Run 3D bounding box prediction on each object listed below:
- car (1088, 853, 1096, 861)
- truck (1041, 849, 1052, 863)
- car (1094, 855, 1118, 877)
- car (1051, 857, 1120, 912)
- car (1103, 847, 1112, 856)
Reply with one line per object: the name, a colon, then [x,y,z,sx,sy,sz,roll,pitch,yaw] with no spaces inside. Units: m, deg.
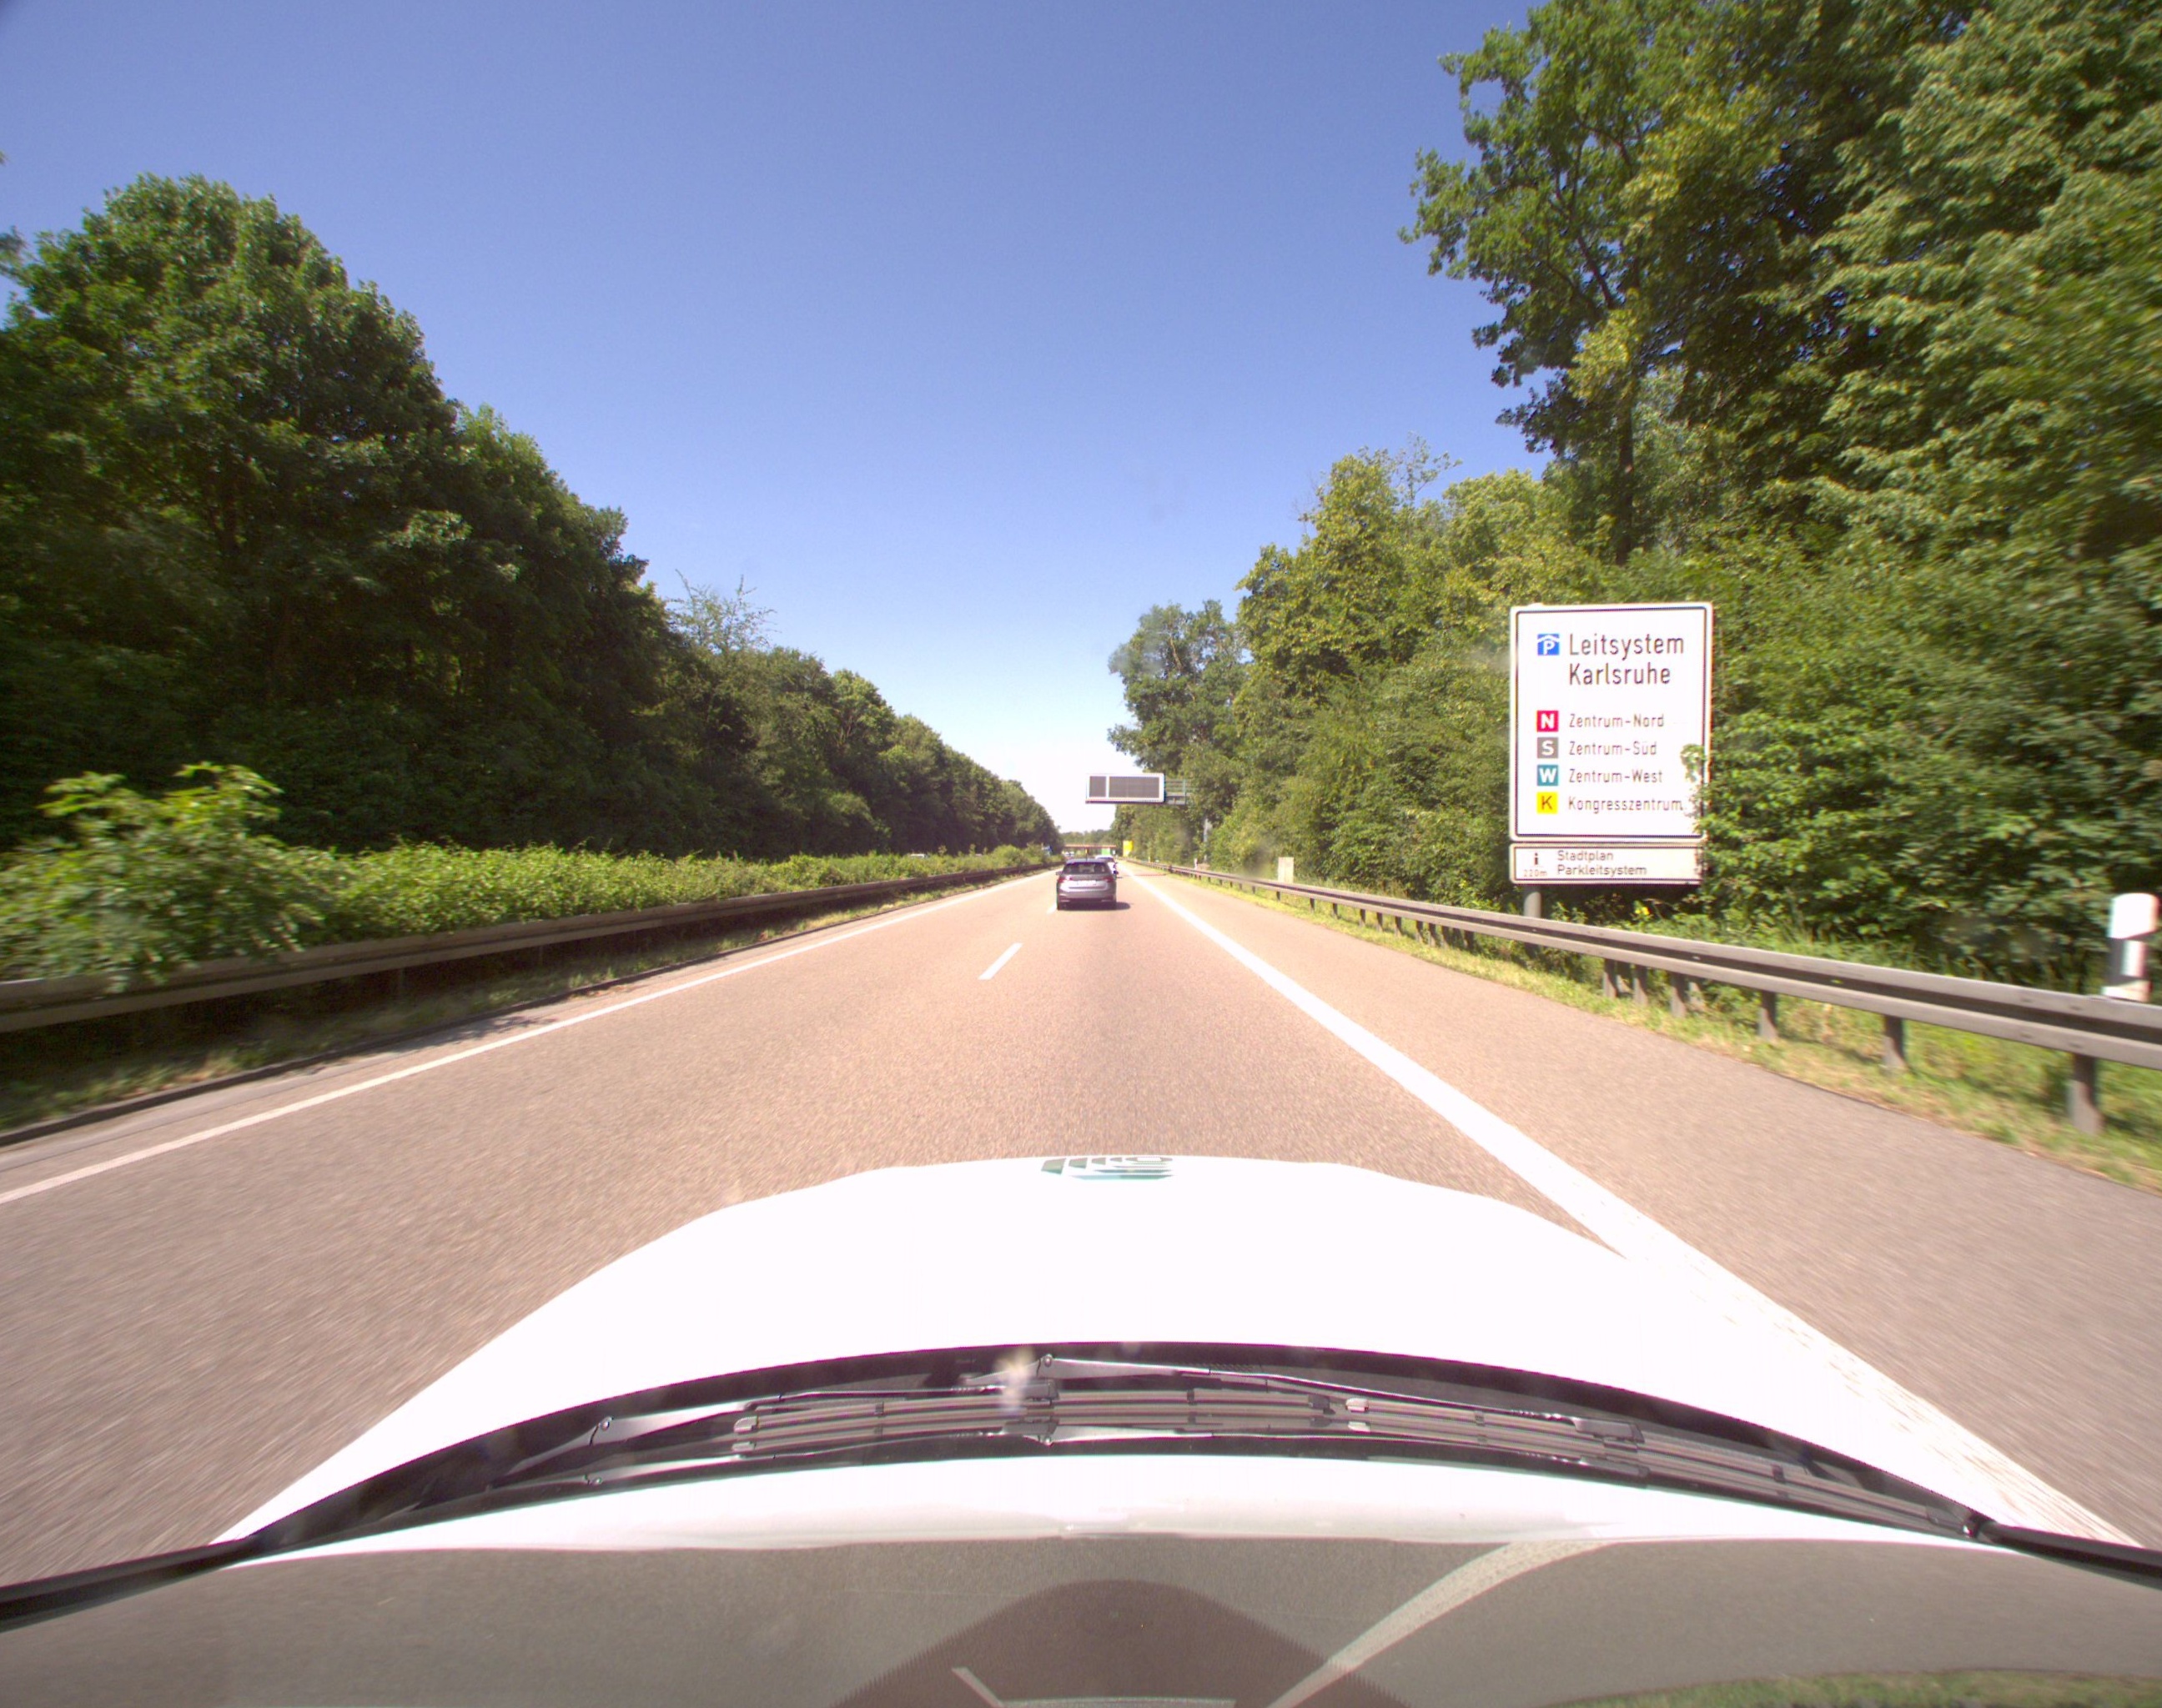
car: [2.994,0.816,220.657,1.986,2.014,4.002,0,-1,2]
truck: [-9.081,0.513,214.633,2.636,3.706,4.002,0,-1,2]
car: [1.735,0.784,55.956,1.516,1.446,3.343,0,0,3]
car: [0.204,0.837,23.966,1.832,1.472,3.627,0,0,3]
car: [7.935,-0.730,246.023,2.738,2.654,4.002,0,-1,2]
